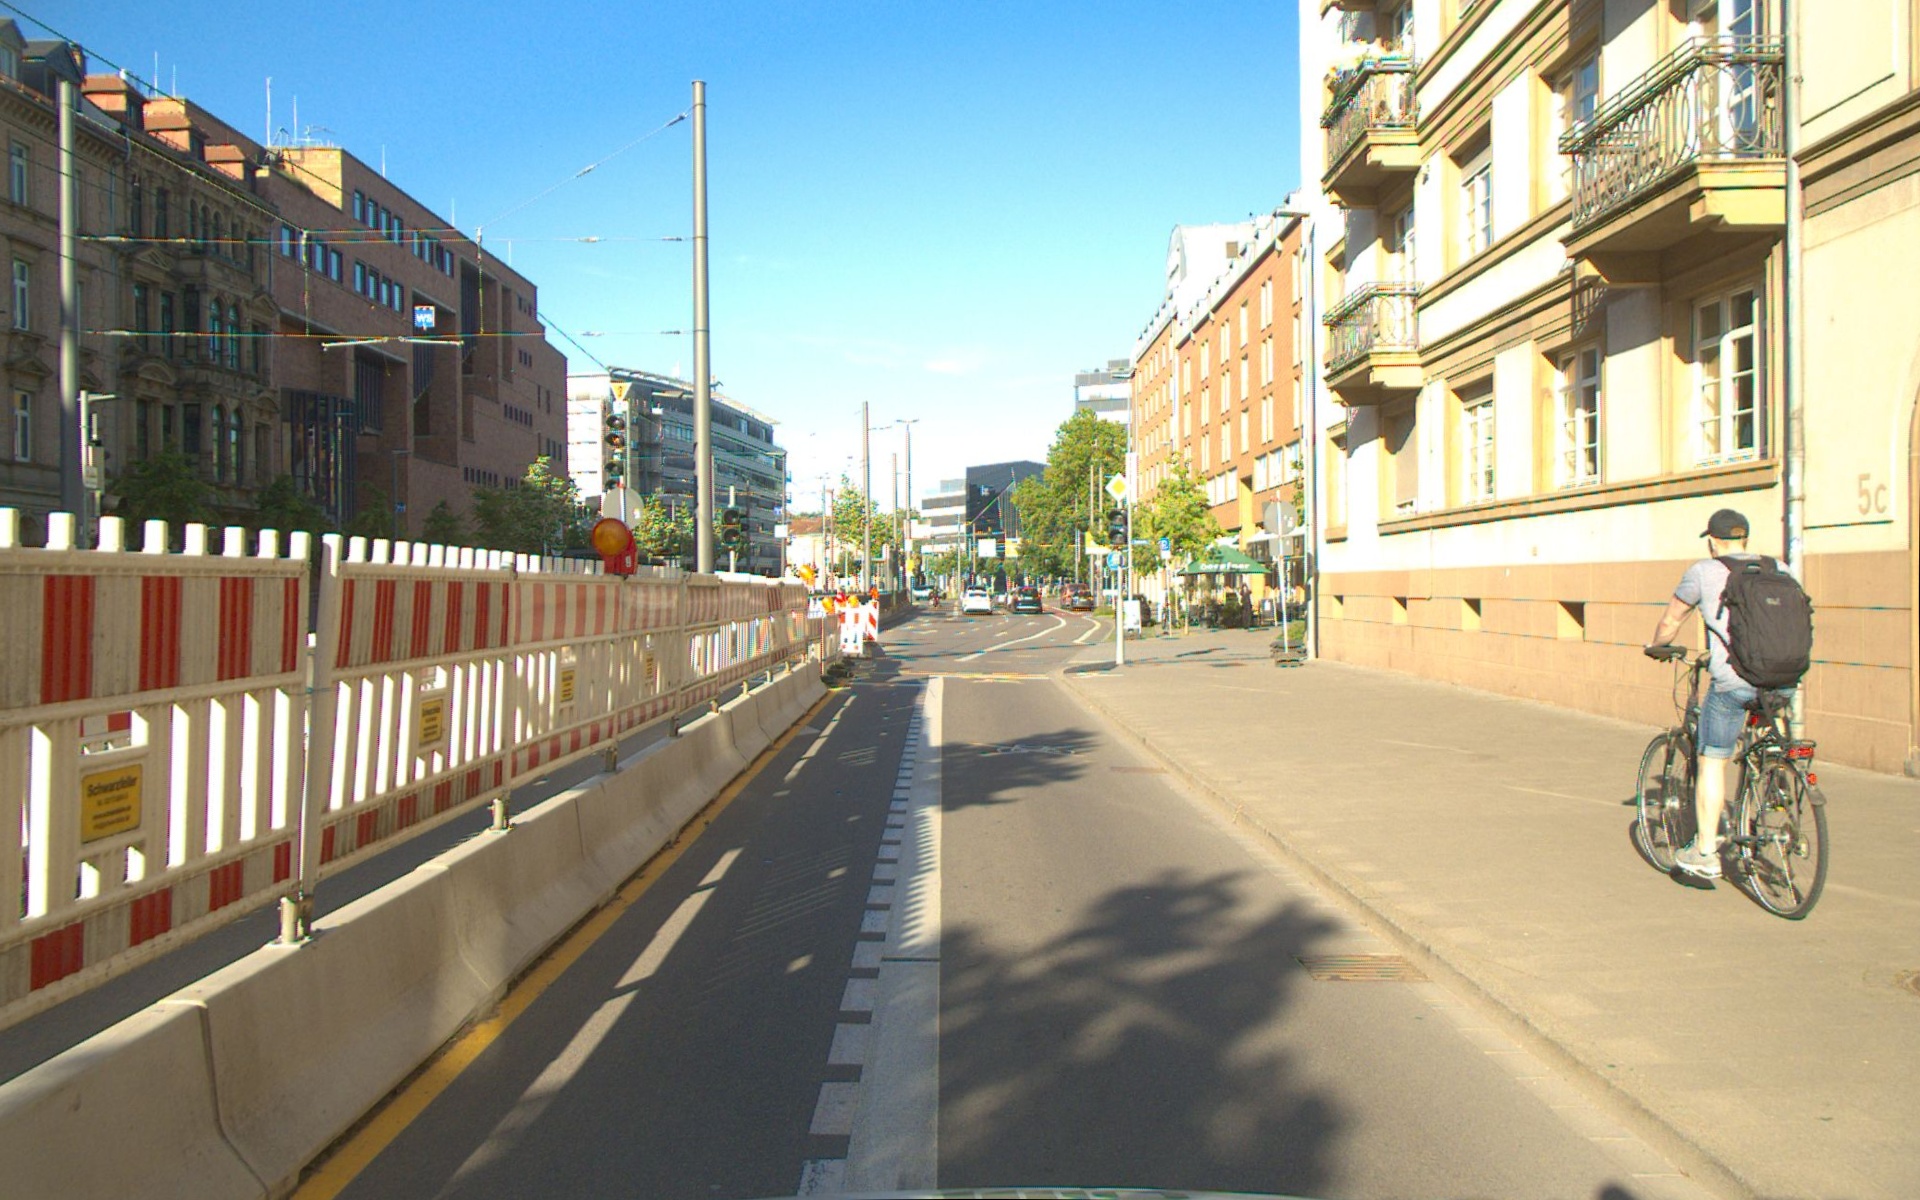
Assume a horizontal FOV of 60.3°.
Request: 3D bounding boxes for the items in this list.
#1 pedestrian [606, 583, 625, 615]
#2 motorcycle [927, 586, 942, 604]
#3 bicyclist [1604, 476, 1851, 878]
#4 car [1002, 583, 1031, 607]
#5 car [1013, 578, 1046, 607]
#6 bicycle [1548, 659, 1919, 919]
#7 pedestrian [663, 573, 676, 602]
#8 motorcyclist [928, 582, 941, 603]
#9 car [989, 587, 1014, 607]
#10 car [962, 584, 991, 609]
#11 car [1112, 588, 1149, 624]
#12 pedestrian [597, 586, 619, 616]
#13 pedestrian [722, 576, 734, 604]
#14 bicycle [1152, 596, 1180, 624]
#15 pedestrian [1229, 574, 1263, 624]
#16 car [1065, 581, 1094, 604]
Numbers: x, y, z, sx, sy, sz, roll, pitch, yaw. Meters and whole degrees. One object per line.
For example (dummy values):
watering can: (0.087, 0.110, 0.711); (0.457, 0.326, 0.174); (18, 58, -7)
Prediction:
pedestrian: (-14.786, -0.061, 71.051); (0.633, 1.331, 0.721); (-2, 0, 0)
motorcycle: (-1.977, -0.419, 128.584); (0.998, 1.335, 2.915); (2, 1, 0)
bicyclist: (3.617, 0.340, 7.872); (0.718, 1.794, 0.937); (-1, 0, -1)
car: (3.957, -0.344, 116.026); (1.813, 1.668, 4.378); (1, 0, 0)
car: (4.523, -0.485, 108.626); (1.934, 1.790, 4.633); (2, 1, 0)
bicycle: (3.608, 0.822, 7.944); (0.752, 0.969, 2.198); (-1, 0, -1)
pedestrian: (-15.317, -0.659, 87.298); (0.528, 1.485, 0.642); (2, 0, 0)
motorcyclist: (-1.979, -0.597, 128.613); (0.998, 1.631, 1.148); (2, 0, 0)
car: (3.316, -0.255, 133.107); (1.813, 1.524, 4.379); (0, 1, 0)
car: (1.001, -0.251, 102.946); (1.744, 1.439, 4.818); (2, 1, 0)
car: (8.209, 0.268, 79.517); (1.684, 1.665, 4.234); (-1, 0, 6)
pedestrian: (-14.672, 0.036, 69.013); (0.706, 1.188, 0.721); (-2, 0, 0)
pedestrian: (-14.579, -0.622, 104.034); (0.627, 1.725, 0.541); (2, 0, 0)
bicycle: (8.659, 0.419, 69.588); (0.750, 1.100, 1.996); (-5, -1, -3)
pedestrian: (10.509, -0.048, 60.734); (0.867, 1.794, 1.104); (-2, -1, 26)
car: (8.699, -0.587, 120.781); (1.809, 1.588, 4.633); (2, 1, 0)
